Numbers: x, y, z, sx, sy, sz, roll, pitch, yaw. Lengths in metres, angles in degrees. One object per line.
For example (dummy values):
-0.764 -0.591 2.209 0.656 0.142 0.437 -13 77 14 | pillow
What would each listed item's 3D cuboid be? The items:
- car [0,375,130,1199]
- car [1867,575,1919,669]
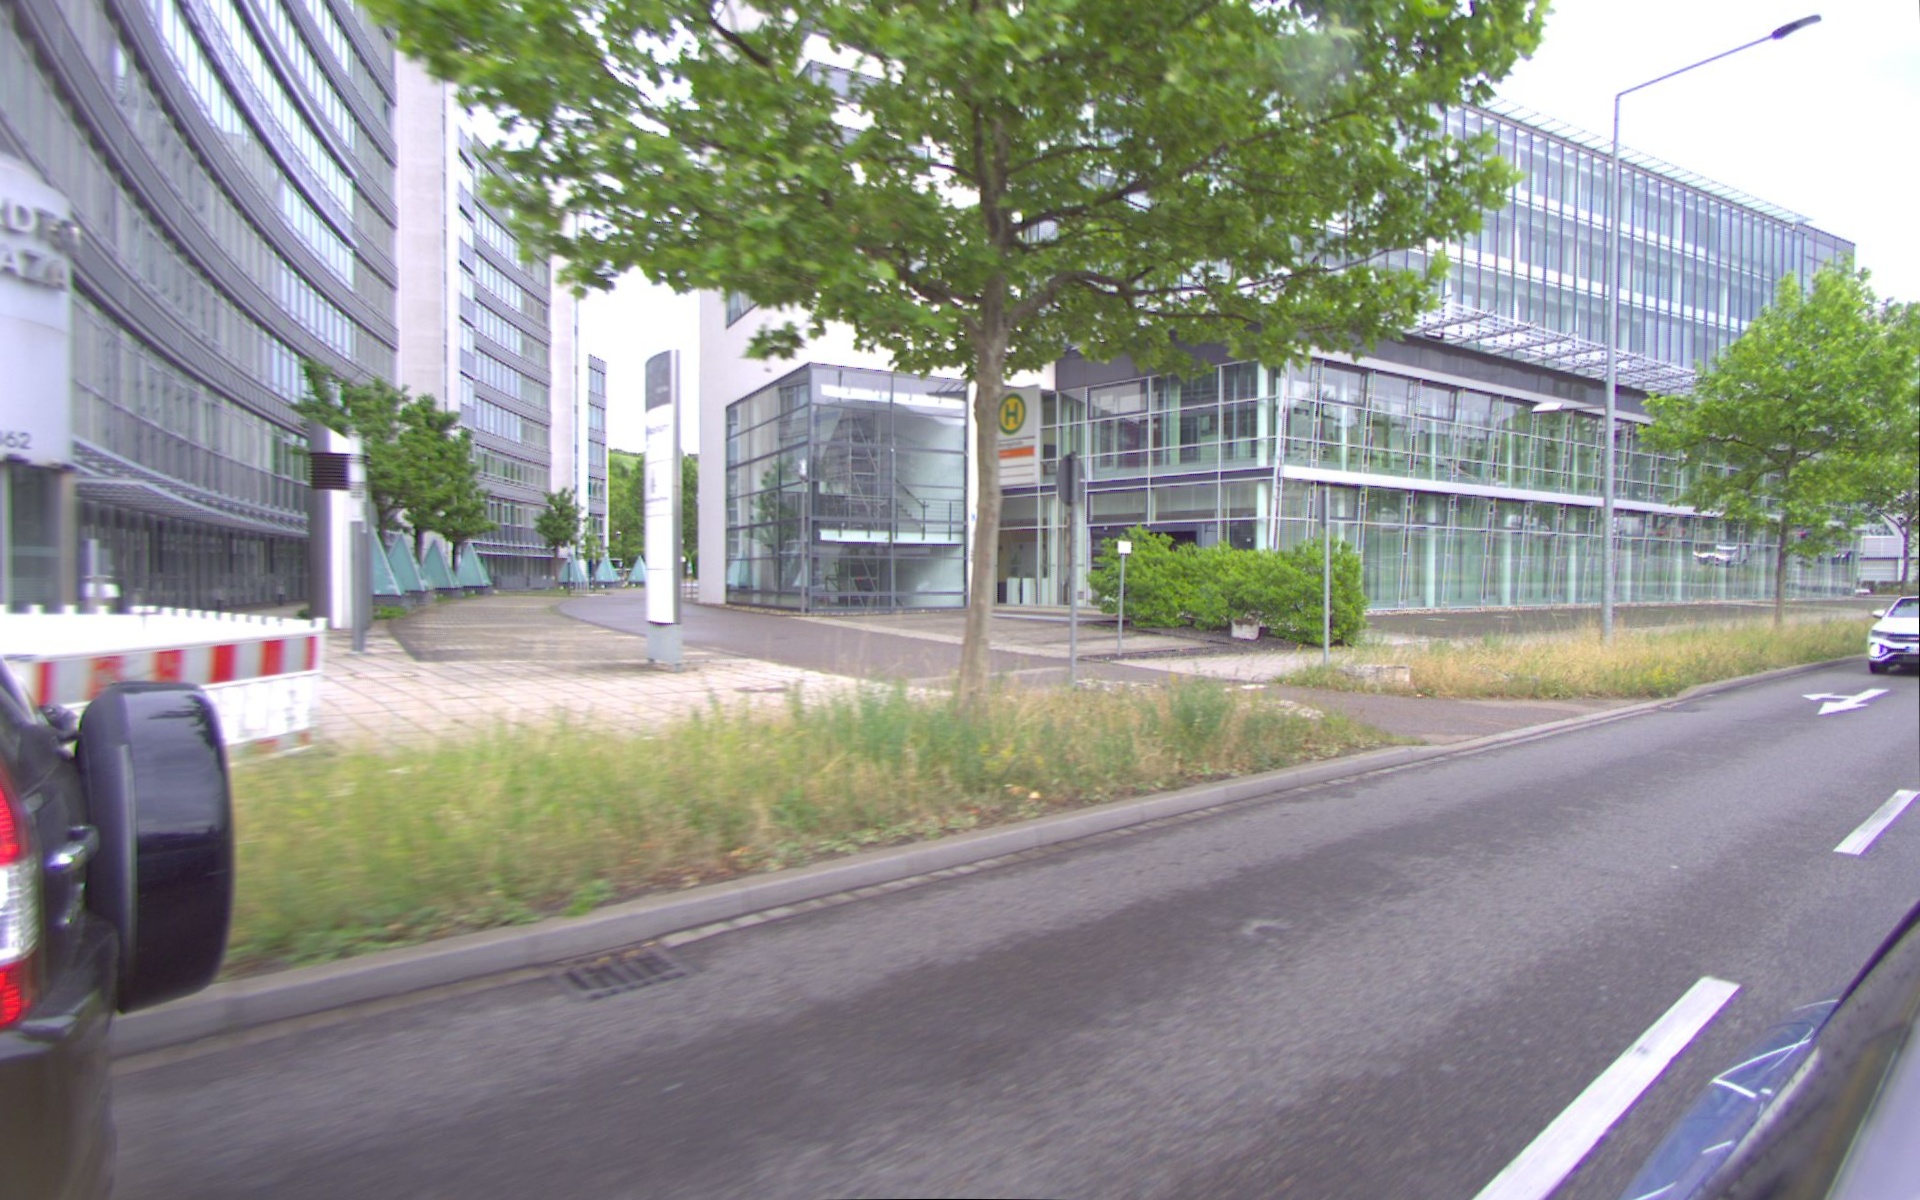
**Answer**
-3.280 0.601 0.604 4.251 1.650 1.768 -2 0 -42 | car
18.986 0.362 19.294 3.754 1.699 1.997 -2 1 -40 | car
